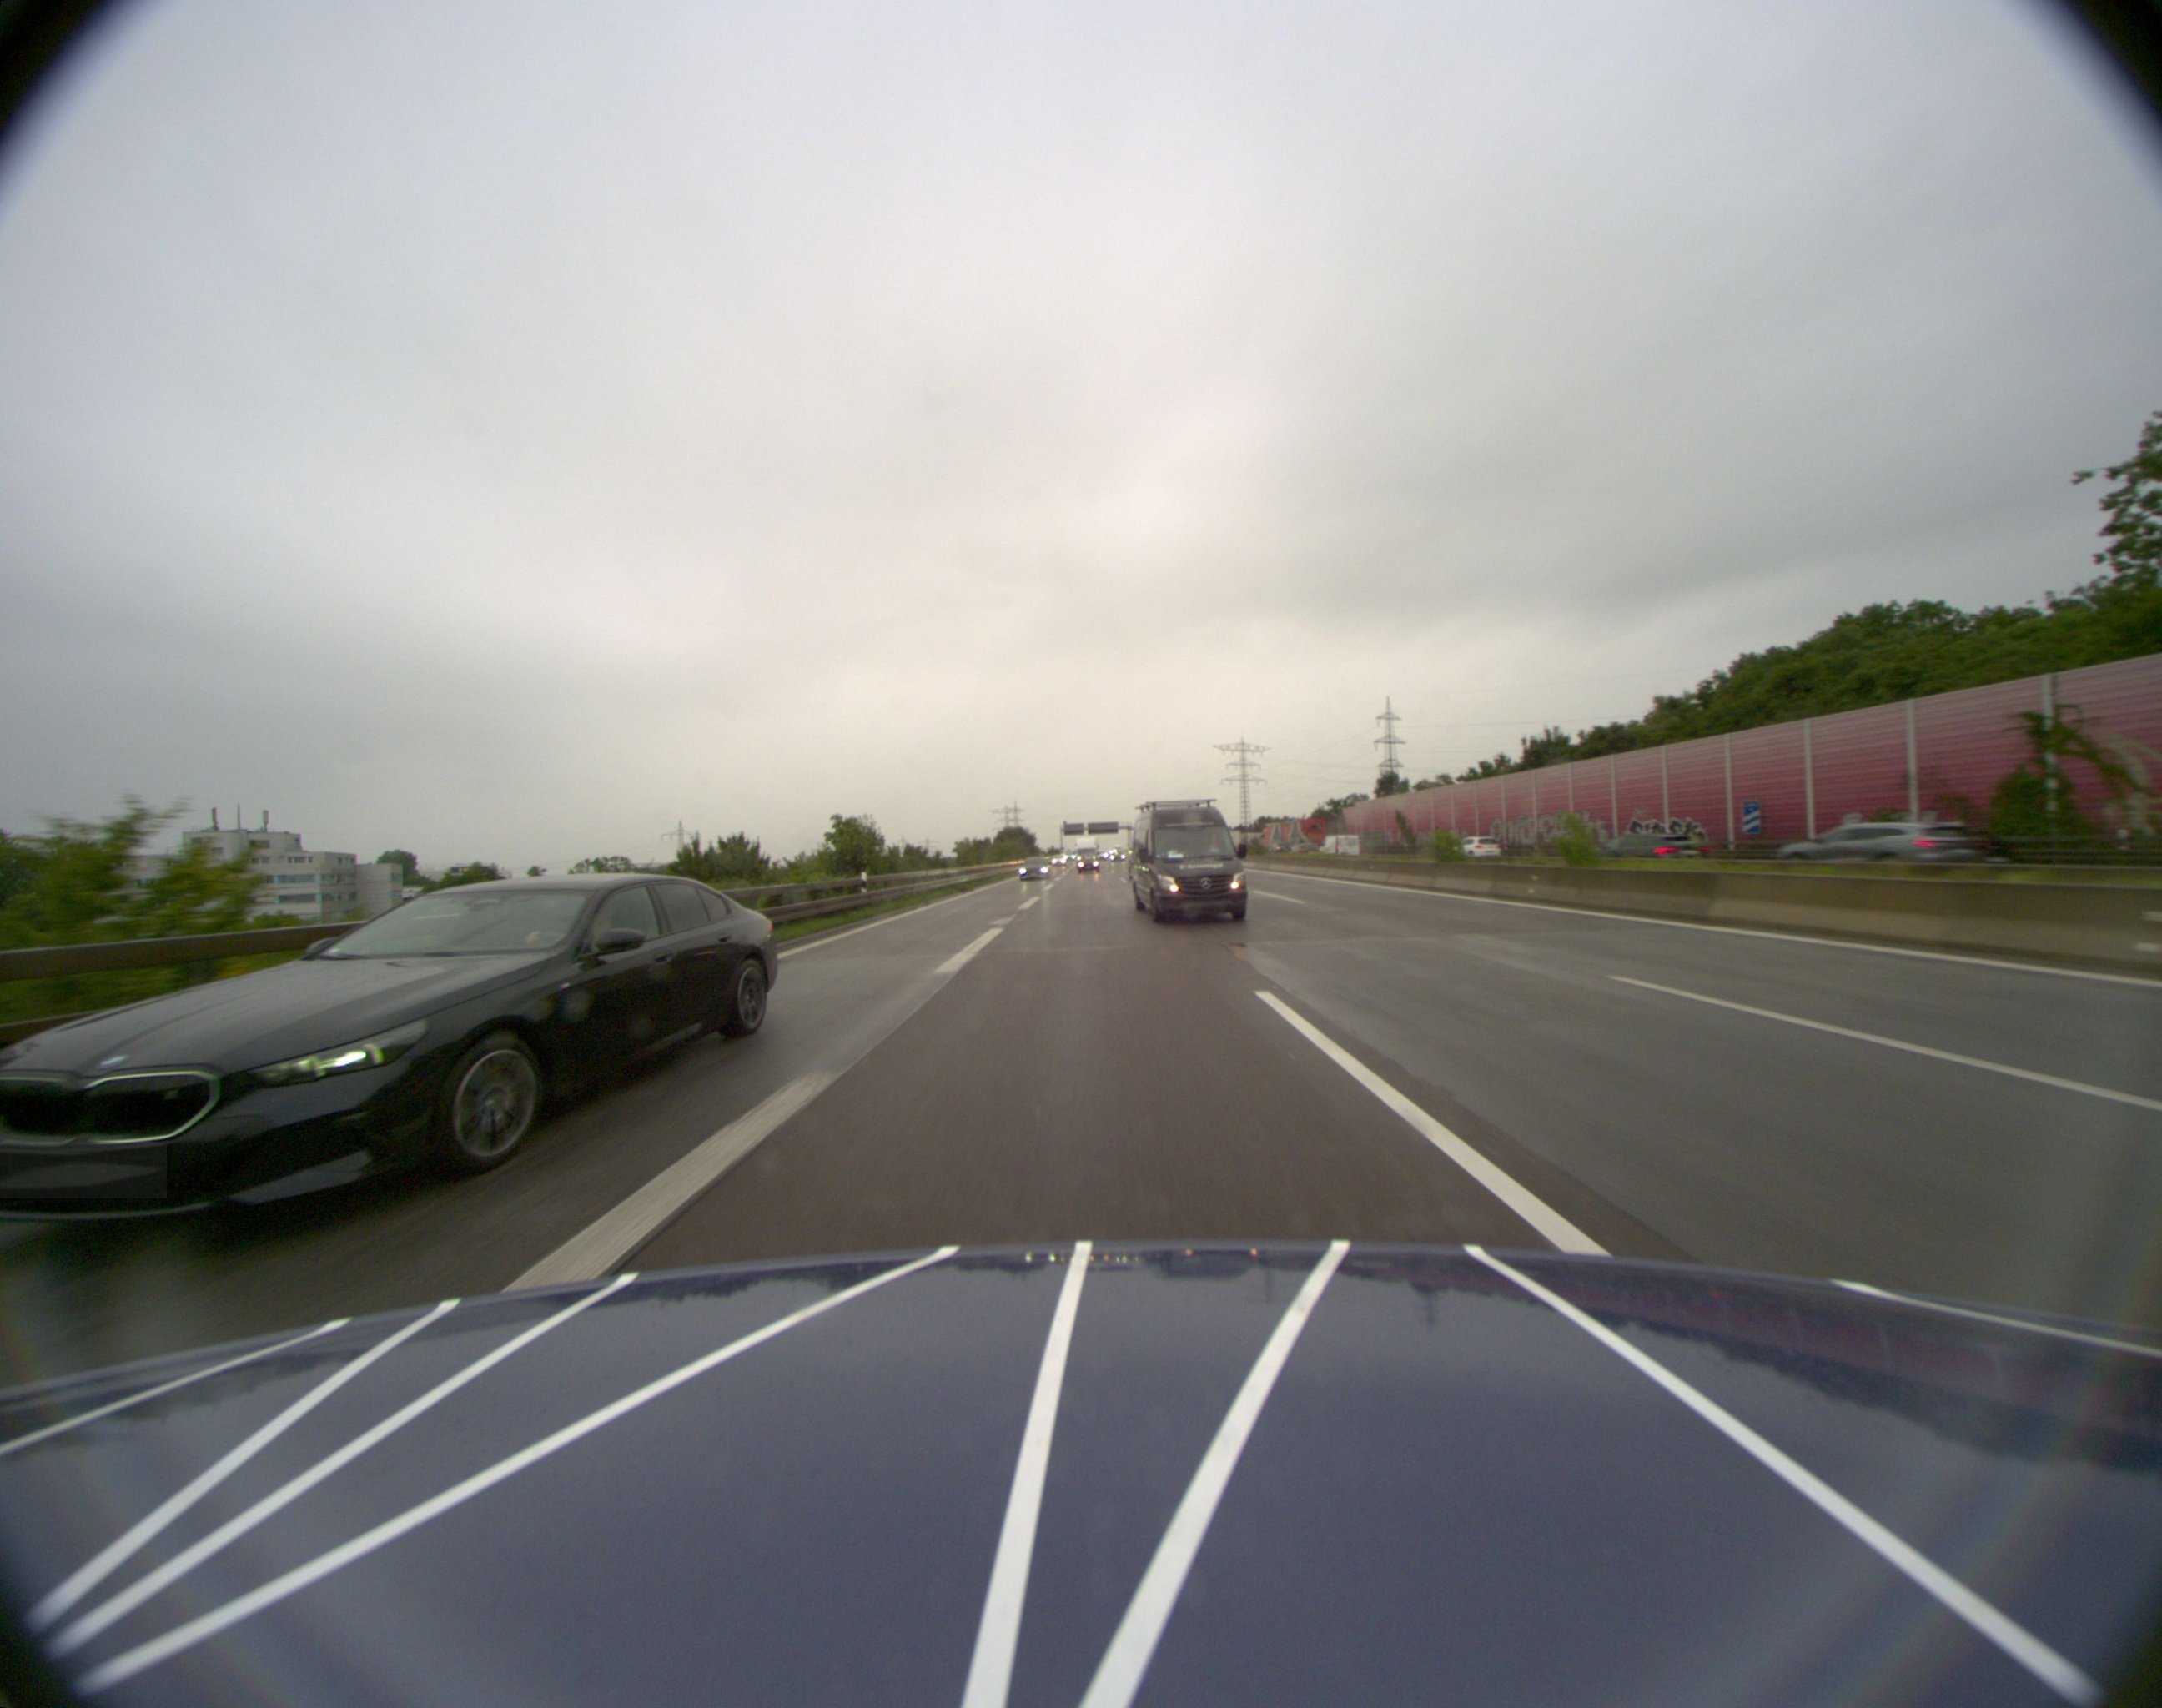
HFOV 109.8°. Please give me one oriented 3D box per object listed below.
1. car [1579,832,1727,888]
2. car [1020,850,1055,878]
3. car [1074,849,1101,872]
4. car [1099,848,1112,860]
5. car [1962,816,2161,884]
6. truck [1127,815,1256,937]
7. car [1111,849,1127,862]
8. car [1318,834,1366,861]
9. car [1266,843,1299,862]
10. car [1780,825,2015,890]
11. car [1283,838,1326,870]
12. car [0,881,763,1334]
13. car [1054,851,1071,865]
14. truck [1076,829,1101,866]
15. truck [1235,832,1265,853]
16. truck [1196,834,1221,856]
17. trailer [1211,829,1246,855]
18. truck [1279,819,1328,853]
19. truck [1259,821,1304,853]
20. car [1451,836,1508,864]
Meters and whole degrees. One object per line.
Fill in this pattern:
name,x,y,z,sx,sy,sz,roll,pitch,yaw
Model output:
car,19.200,0.186,25.765,1.998,1.714,4.000,-2,0,1
car,-2.820,0.643,50.470,1.998,1.706,4.000,-2,0,1
car,0.532,0.502,60.819,1.998,1.706,4.000,-2,0,1
car,4.038,0.029,124.594,1.998,1.935,4.000,-2,0,1
car,27.058,-0.137,20.222,1.998,1.638,4.538,-2,0,1
truck,2.384,0.395,18.143,1.999,2.324,6.109,-3,1,-1
car,5.396,0.183,108.425,1.998,1.706,4.000,-2,0,1
car,20.122,-0.510,58.873,2.031,1.746,4.442,-7,0,1
car,20.553,-0.160,77.792,1.999,1.848,4.388,-3,1,-2
car,23.382,0.079,22.089,1.998,1.638,4.538,-2,0,1
car,16.097,-0.016,54.904,1.869,2.002,3.651,-7,0,1
car,-3.901,1.030,4.935,1.862,1.531,4.203,-2,0,0
car,-2.421,0.515,99.933,1.998,1.706,4.000,-2,0,1
truck,0.762,-0.625,78.511,2.392,3.657,4.986,-2,0,1
truck,29.142,-2.003,131.415,2.948,3.229,9.378,-4,1,1
truck,17.941,-1.305,107.164,2.272,2.812,7.279,-4,1,1
trailer,25.200,-2.035,130.632,3.054,4.004,14.124,-4,1,1
truck,24.477,-1.931,84.020,2.788,3.470,8.493,-3,1,1
truck,24.552,-2.015,93.607,2.788,3.470,10.617,-3,0,1
car,27.283,-0.291,52.199,1.742,1.642,3.915,-7,0,1
